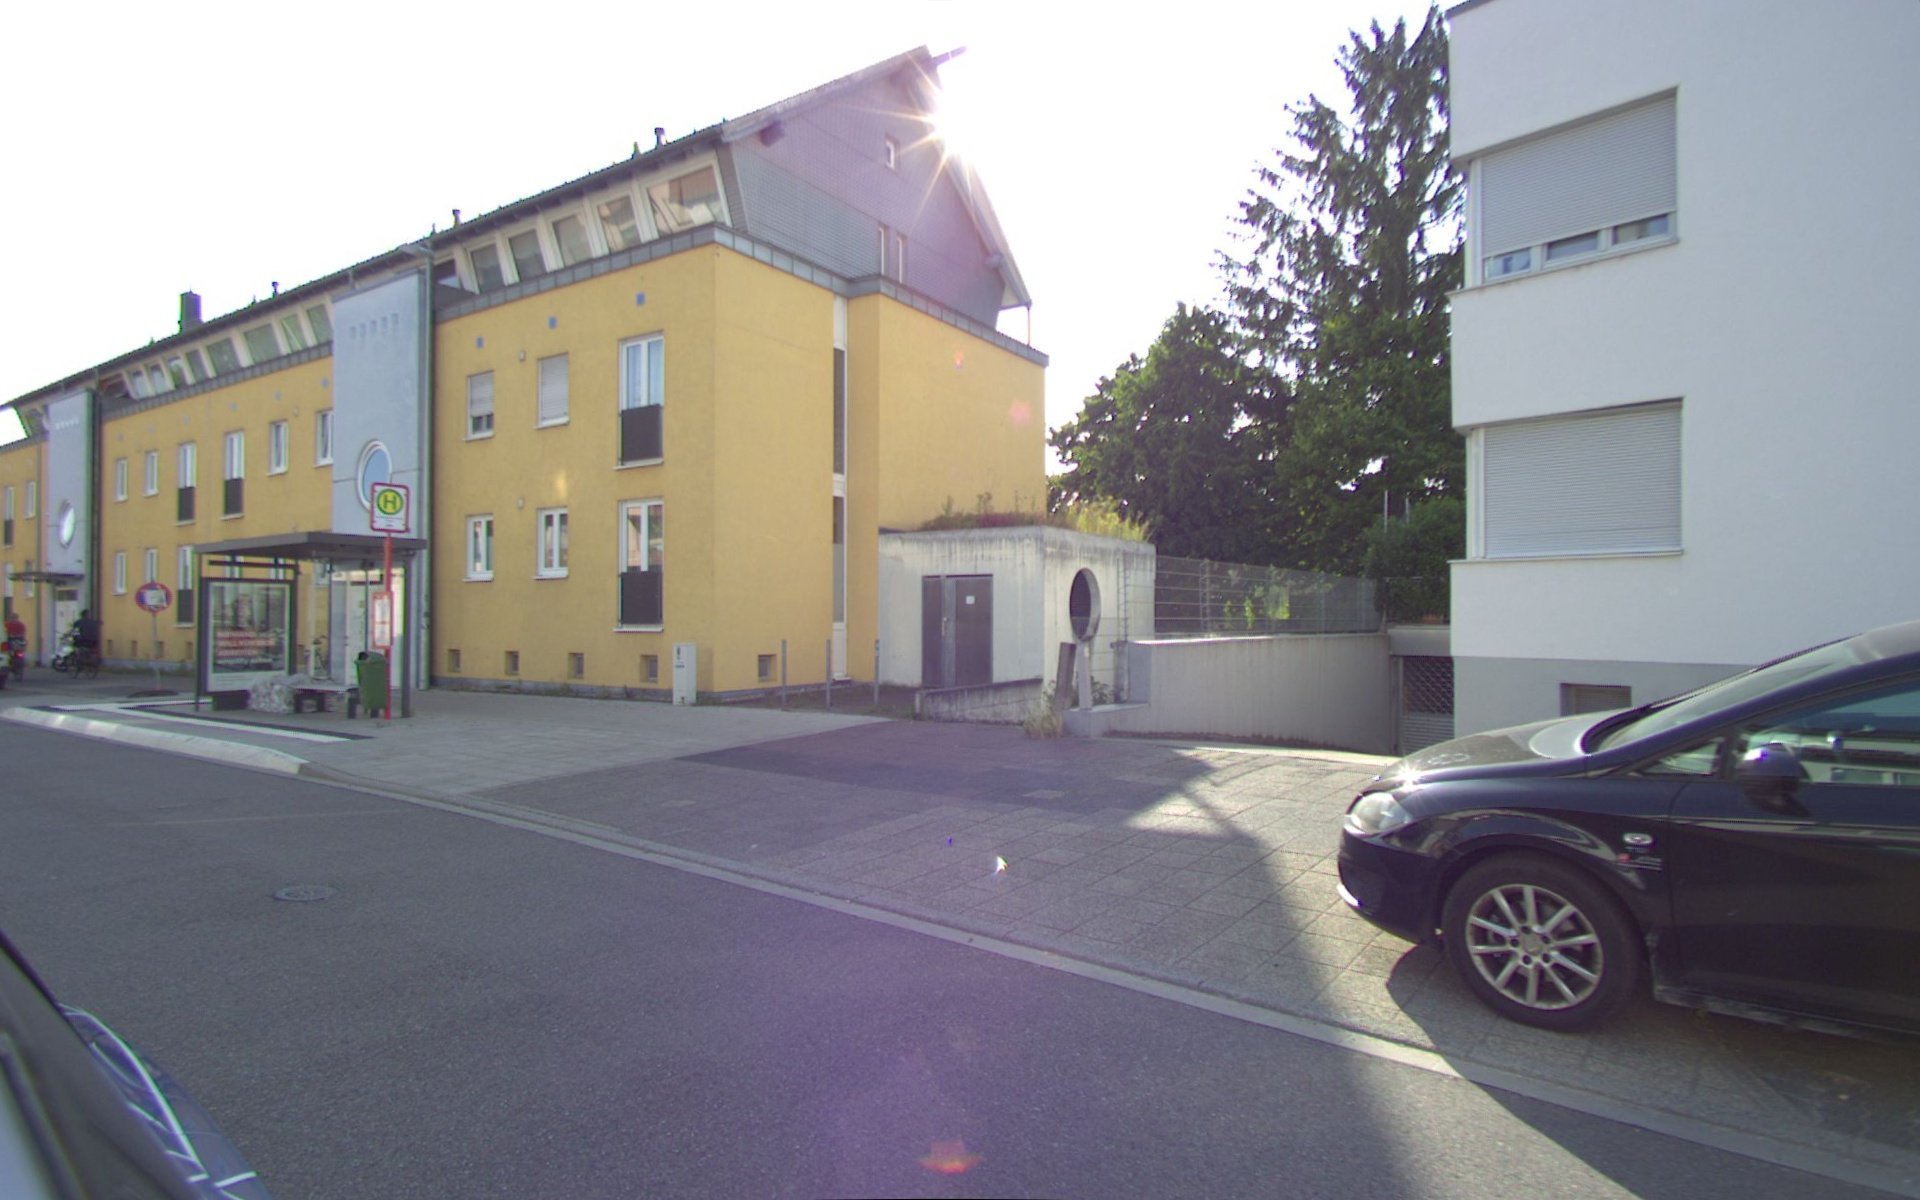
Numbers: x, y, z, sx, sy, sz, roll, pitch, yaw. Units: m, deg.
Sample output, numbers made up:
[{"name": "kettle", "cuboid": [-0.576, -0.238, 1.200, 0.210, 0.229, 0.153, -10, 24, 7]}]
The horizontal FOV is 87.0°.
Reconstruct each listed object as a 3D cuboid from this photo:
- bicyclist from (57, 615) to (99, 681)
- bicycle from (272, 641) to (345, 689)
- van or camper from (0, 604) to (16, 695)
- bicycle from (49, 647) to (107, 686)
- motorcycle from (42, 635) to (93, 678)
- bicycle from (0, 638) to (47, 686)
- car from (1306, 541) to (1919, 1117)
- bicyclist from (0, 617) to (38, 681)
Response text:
[{"name": "bicyclist", "cuboid": [-22.747, 1.225, 26.101, 0.664, 1.681, 0.668, -1, -1, 33]}, {"name": "bicycle", "cuboid": [-14.632, 1.435, 22.701, 1.902, 1.005, 0.710, -1, -1, 35]}, {"name": "van or camper", "cuboid": [-23.743, 1.138, 23.176, 4.906, 2.018, 1.978, -1, -1, 33]}, {"name": "bicycle", "cuboid": [-22.735, 1.701, 26.086, 1.868, 0.919, 0.685, -2, -1, 34]}, {"name": "motorcycle", "cuboid": [-26.150, 1.641, 29.643, 1.870, 1.191, 0.578, -1, -1, 30]}, {"name": "bicycle", "cuboid": [-24.273, 1.585, 25.996, 2.013, 1.169, 0.607, -1, -1, 29]}, {"name": "car", "cuboid": [3.531, 0.619, 3.293, 4.177, 1.634, 1.757, -1, 1, 42]}, {"name": "bicyclist", "cuboid": [-24.227, 1.247, 25.958, 0.724, 1.615, 0.665, -1, -1, 28]}]
